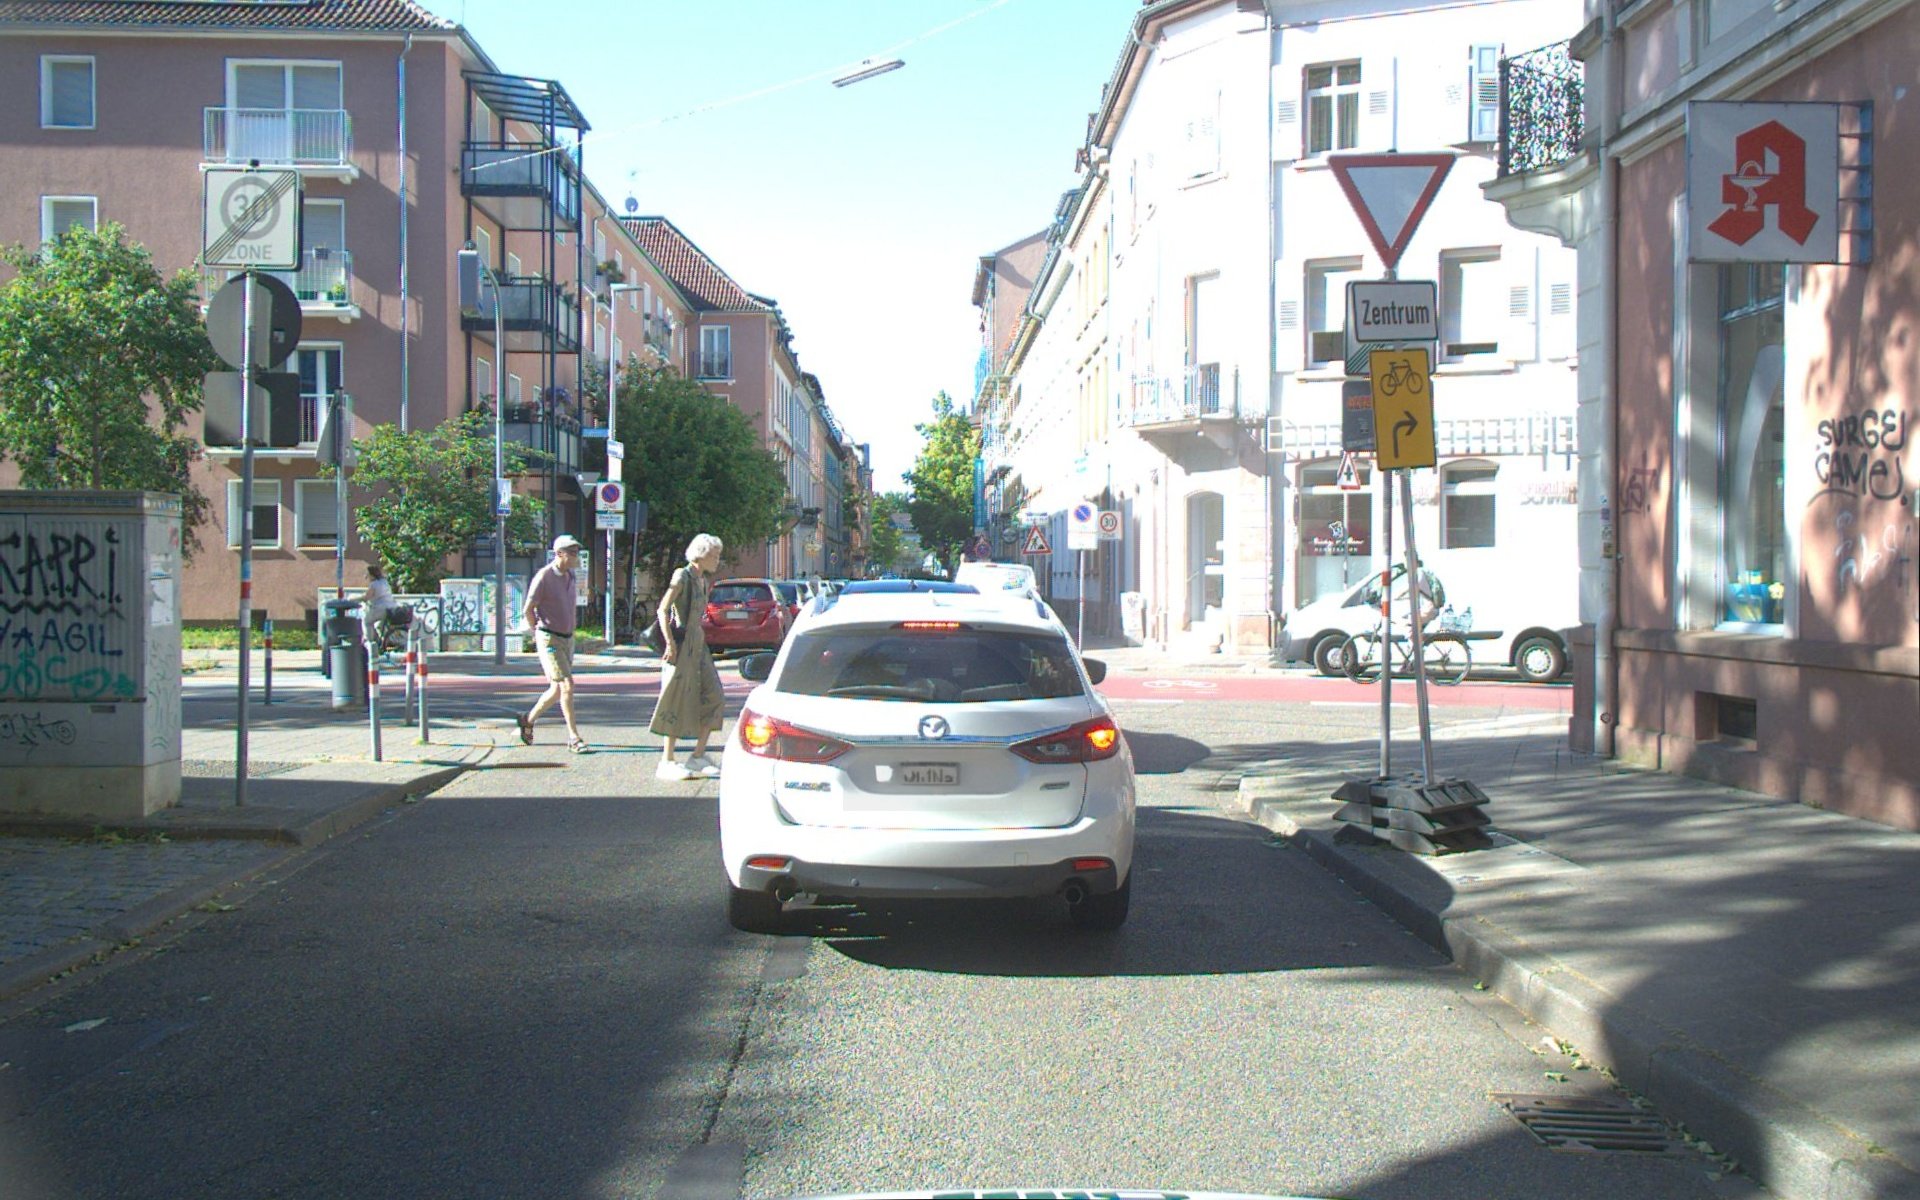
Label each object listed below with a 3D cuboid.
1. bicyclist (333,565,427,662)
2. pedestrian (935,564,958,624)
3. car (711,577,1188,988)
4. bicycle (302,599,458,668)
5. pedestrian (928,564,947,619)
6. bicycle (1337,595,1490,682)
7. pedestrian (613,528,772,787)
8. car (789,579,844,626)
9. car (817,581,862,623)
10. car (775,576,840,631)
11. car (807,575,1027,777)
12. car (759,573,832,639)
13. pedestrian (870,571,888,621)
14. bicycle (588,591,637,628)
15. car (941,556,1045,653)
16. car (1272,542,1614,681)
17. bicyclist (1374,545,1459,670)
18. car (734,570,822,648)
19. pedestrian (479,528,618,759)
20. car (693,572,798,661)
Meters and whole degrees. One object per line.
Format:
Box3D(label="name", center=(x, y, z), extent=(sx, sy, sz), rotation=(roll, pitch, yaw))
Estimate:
Box3D(label="bicyclist", center=(-9.417, 0.215, 26.873), extent=(1.170, 1.543, 0.841), rotation=(0, 0, 15))
Box3D(label="pedestrian", center=(-0.446, -0.191, 53.898), extent=(0.755, 1.952, 0.834), rotation=(0, 0, -1))
Box3D(label="car", center=(-0.108, 0.668, 8.146), extent=(1.787, 1.540, 3.822), rotation=(0, 1, -2))
Box3D(label="bicycle", center=(-9.427, 0.541, 26.894), extent=(2.373, 1.098, 0.791), rotation=(0, 0, 16))
Box3D(label="pedestrian", center=(-0.888, -0.336, 66.222), extent=(0.755, 2.155, 0.834), rotation=(0, 0, -1))
Box3D(label="bicycle", center=(6.163, 0.520, 22.568), extent=(1.965, 1.164, 0.684), rotation=(0, 0, 13))
Box3D(label="pedestrian", center=(-1.981, 0.391, 12.301), extent=(0.836, 1.846, 0.814), rotation=(0, 2, 26))
Box3D(label="car", center=(-4.716, 0.081, 54.802), extent=(1.569, 1.503, 3.566), rotation=(0, 0, -1))
Box3D(label="car", center=(-4.712, 0.083, 65.113), extent=(1.540, 1.613, 3.610), rotation=(0, 0, -1))
Box3D(label="car", center=(-4.641, 0.107, 50.791), extent=(1.685, 1.604, 3.725), rotation=(0, 0, -1))
Box3D(label="car", center=(-0.395, 0.548, 14.283), extent=(1.648, 1.507, 3.659), rotation=(0, 1, -2))
Box3D(label="car", center=(-4.334, 0.147, 44.013), extent=(1.602, 1.685, 3.784), rotation=(0, 0, -1))
Box3D(label="pedestrian", center=(-3.015, -0.140, 61.511), extent=(0.634, 1.828, 0.639), rotation=(0, 0, -1))
Box3D(label="bicycle", center=(-9.257, 0.251, 44.029), extent=(0.598, 0.948, 1.892), rotation=(0, 0, -34))
Box3D(label="car", center=(0.671, 0.068, 36.275), extent=(1.904, 1.982, 4.075), rotation=(1, 0, -4))
Box3D(label="car", center=(7.352, 0.169, 25.165), extent=(4.790, 1.962, 1.999), rotation=(0, -1, 23))
Box3D(label="bicyclist", center=(6.221, 0.106, 22.576), extent=(1.067, 1.673, 0.757), rotation=(0, 0, 13))
Box3D(label="car", center=(-4.177, 0.182, 38.503), extent=(1.685, 1.712, 3.725), rotation=(0, 0, -1))
Box3D(label="pedestrian", center=(-3.467, 0.330, 13.944), extent=(0.949, 1.870, 0.680), rotation=(2, 2, 34))
Box3D(label="car", center=(-4.206, 0.277, 32.902), extent=(1.734, 1.616, 3.725), rotation=(0, 1, -2))
